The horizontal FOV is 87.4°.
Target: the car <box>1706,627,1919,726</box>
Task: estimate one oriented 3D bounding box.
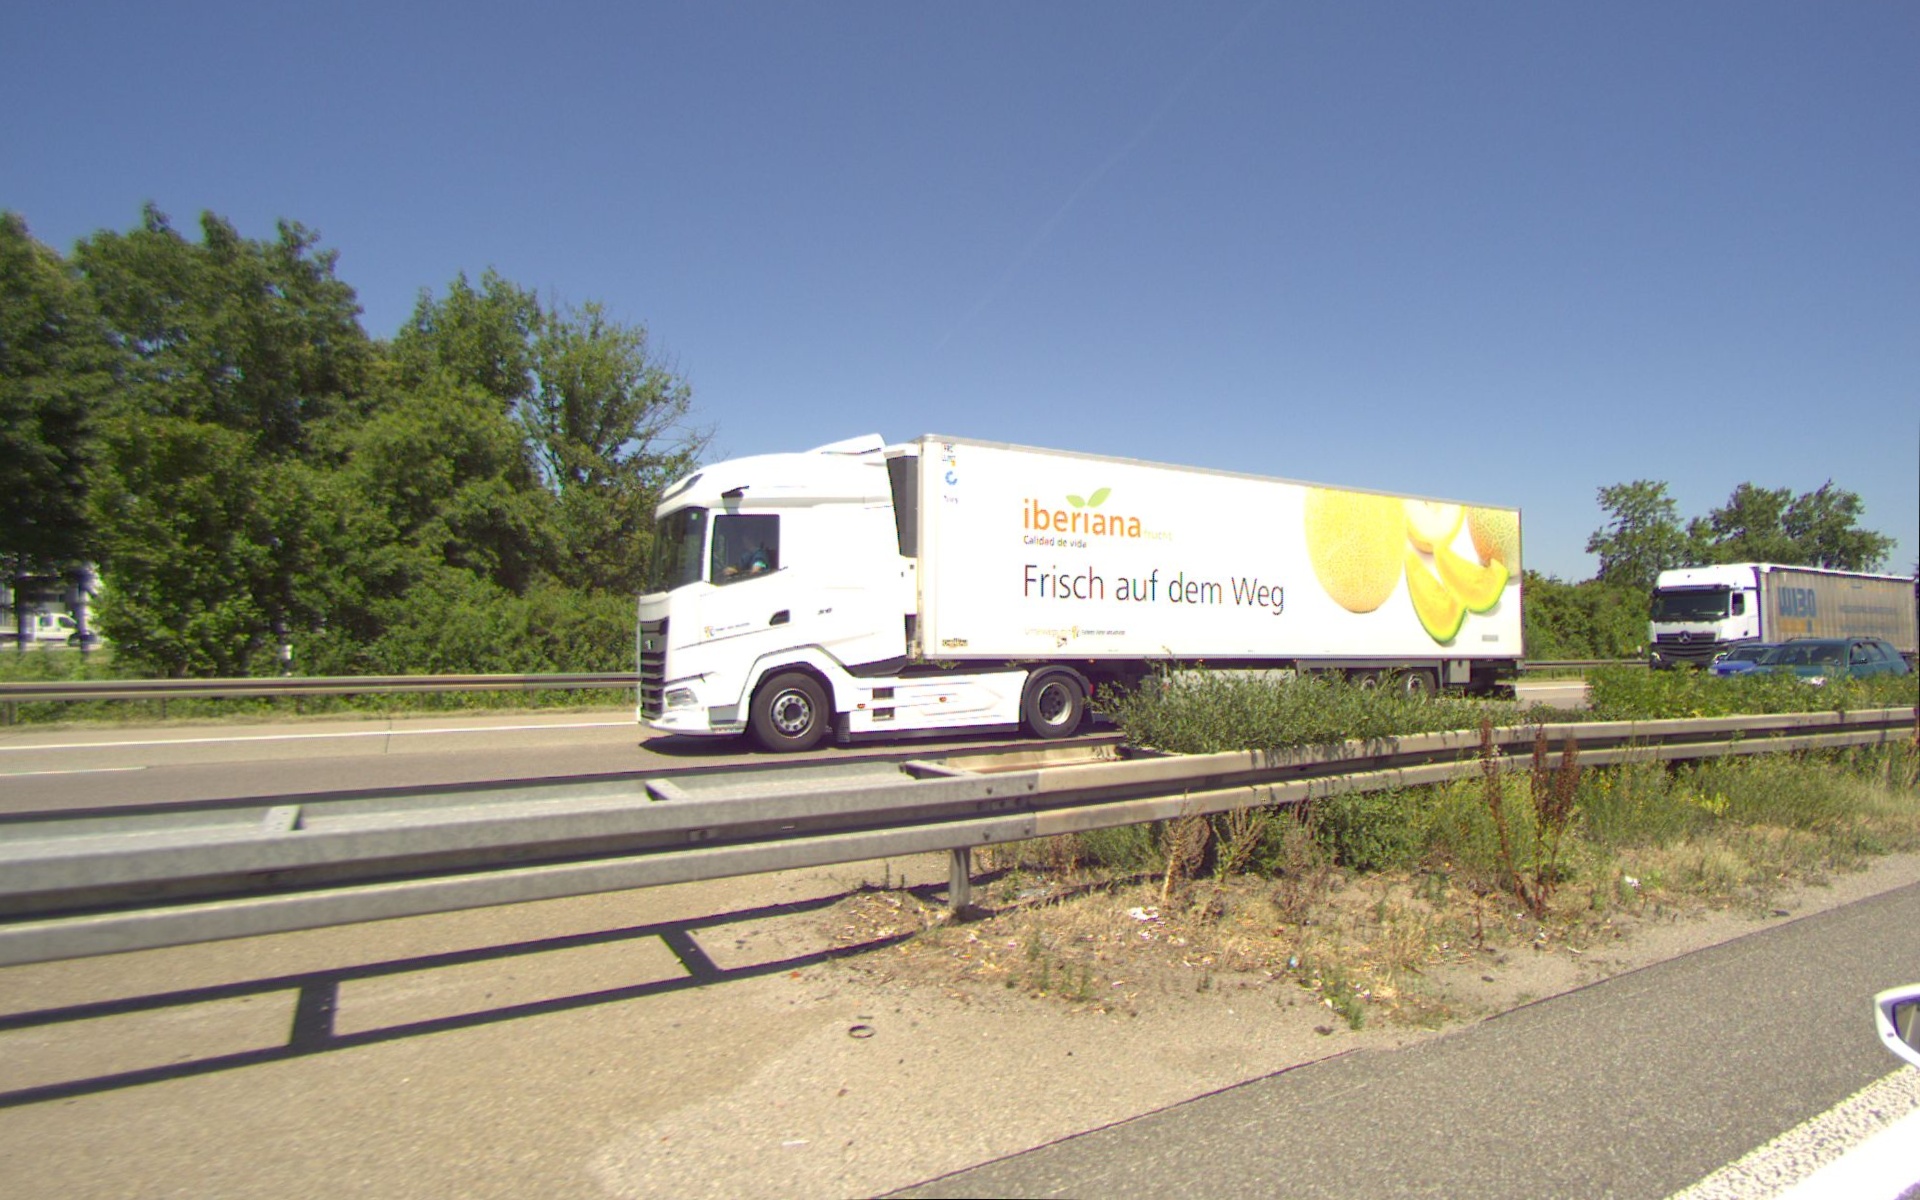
[{"bbox_3d":[17.195,1.457,20.168,4.749,1.716,1.948,2,0,-32],"label":"car"}]

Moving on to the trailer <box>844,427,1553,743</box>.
[{"bbox_3d":[5.027,0.008,17.825,14.173,4.138,2.728,1,-3,-29],"label":"trailer"}]

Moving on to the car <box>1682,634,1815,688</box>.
[{"bbox_3d":[21.815,1.688,27.771,3.922,1.404,1.565,2,-4,-31],"label":"car"}]

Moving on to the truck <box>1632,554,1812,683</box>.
[{"bbox_3d":[26.516,0.726,34.920,6.079,4.156,2.745,2,-3,-30],"label":"truck"}]

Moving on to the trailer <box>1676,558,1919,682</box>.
[{"bbox_3d":[32.479,0.896,38.426,13.887,4.156,2.745,2,-3,-30],"label":"trailer"}]

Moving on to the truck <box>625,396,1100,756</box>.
[{"bbox_3d":[-1.292,-0.161,14.240,6.142,4.138,2.728,1,-3,-29],"label":"truck"}]
